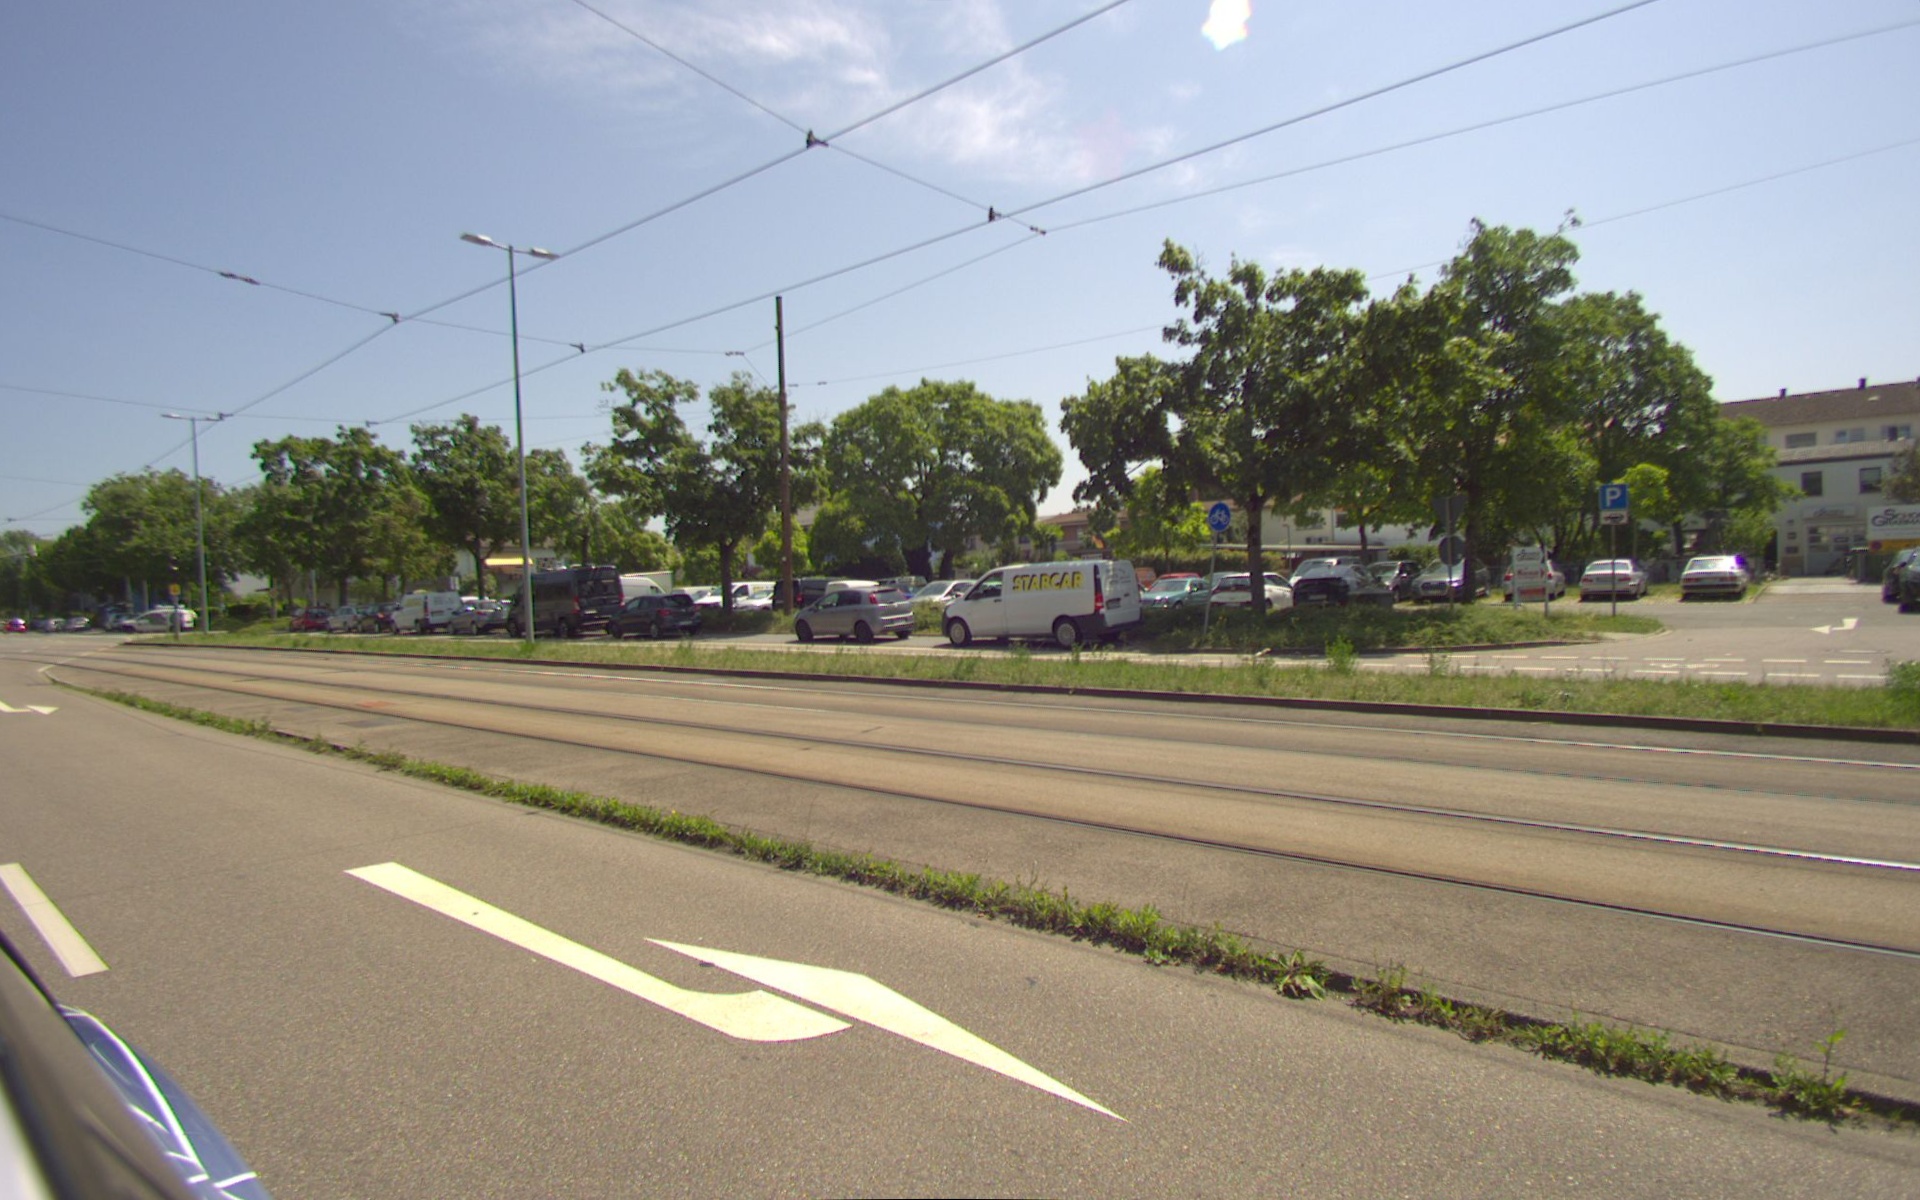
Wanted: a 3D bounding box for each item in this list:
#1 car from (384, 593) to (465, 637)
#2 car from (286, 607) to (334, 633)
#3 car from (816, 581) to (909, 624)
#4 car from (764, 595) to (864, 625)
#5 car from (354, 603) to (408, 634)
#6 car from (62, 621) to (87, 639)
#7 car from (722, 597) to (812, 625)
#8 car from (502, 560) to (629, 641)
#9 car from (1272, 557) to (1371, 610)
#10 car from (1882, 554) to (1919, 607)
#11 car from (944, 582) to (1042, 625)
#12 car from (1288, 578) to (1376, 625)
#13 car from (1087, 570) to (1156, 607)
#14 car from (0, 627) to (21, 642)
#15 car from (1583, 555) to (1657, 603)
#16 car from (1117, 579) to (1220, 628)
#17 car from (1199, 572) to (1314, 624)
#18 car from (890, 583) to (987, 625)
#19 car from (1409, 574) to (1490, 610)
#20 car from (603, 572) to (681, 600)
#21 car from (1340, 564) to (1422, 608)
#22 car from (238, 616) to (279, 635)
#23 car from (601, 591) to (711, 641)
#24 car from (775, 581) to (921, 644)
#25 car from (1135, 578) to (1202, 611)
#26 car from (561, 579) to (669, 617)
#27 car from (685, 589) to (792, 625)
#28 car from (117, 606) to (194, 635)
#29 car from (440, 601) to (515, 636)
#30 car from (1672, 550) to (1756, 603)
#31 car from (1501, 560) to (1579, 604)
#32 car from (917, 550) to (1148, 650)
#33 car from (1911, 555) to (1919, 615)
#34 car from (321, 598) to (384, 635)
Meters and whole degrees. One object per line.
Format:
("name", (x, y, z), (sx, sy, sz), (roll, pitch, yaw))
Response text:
("car", (-25.439, 0.676, 47.978), (4.817, 1.963, 1.899), (-1, 0, 43))
("car", (-37.965, 1.147, 59.104), (3.424, 1.491, 1.561), (-1, 0, 43))
("car", (-4.177, 0.073, 44.020), (1.795, 1.730, 3.950), (-2, 1, 37))
("car", (-6.467, 0.427, 45.180), (2.030, 1.152, 4.210), (-1, 1, 37))
("car", (-29.570, 0.923, 51.656), (3.261, 1.489, 1.410), (-1, 0, 41))
("car", (-96.114, 3.265, 109.791), (3.983, 1.867, 1.681), (-1, 0, 43))
("car", (-8.860, 0.495, 46.796), (1.732, 1.152, 3.950), (-1, 1, 37))
("car", (-15.144, 0.027, 38.650), (5.666, 2.859, 2.214), (-1, 0, 42))
("car", (15.269, -0.654, 42.541), (2.225, 2.085, 5.055), (-1, 0, 41))
("car", (27.253, -0.541, 28.400), (2.000, 1.432, 4.086), (-1, 0, 43))
("car", (1.315, 0.108, 38.265), (1.828, 1.501, 4.029), (-2, 1, 34))
("car", (10.893, 0.025, 29.542), (1.639, 1.241, 3.385), (-2, 1, 34))
("car", (7.939, -0.569, 49.377), (1.689, 1.665, 4.081), (-2, 0, 35))
("car", (-101.213, 3.634, 107.567), (3.424, 1.491, 1.796), (-1, 0, 43))
("car", (23.246, -0.731, 35.596), (1.520, 1.591, 3.943), (-1, 0, 43))
("car", (6.845, 0.095, 32.884), (1.908, 1.501, 3.994), (-1, 0, 34))
("car", (9.332, -0.086, 31.677), (1.983, 1.501, 4.119), (-1, 1, 40))
("car", (-0.790, 0.138, 39.636), (1.862, 1.499, 3.954), (-2, 1, 34))
("car", (18.755, -0.299, 38.721), (1.764, 1.294, 3.675), (-1, 0, 43))
("car", (-25.125, -1.089, 80.044), (2.145, 2.078, 5.673), (-1, 0, 38))
("car", (17.041, -0.544, 40.883), (1.804, 1.669, 3.943), (-1, 0, 43))
("car", (-46.729, 1.667, 67.381), (3.424, 1.167, 1.561), (0, 0, 43))
("car", (-10.418, 0.517, 34.638), (3.751, 1.589, 1.950), (-1, 0, 42))
("car", (-3.161, 0.346, 28.124), (4.125, 1.513, 1.633), (-1, 4, 42))
("car", (9.980, -0.277, 48.249), (1.712, 1.505, 3.952), (-1, 0, 35))
("car", (-19.029, -0.130, 56.024), (2.029, 1.970, 5.362), (-1, 0, 43))
("car", (-10.680, 0.314, 49.138), (1.998, 1.588, 4.866), (-1, 1, 38))
("car", (-59.966, 1.514, 75.477), (4.141, 2.005, 1.828), (-1, 0, -22))
("car", (-21.096, 0.788, 44.241), (3.608, 1.475, 1.744), (-1, 0, 43))
("car", (25.051, -0.751, 33.575), (1.804, 1.669, 3.943), (-1, 0, 43))
("car", (21.649, -0.655, 37.724), (1.661, 1.531, 3.943), (-1, 0, 43))
("car", (1.589, 0.001, 23.862), (5.343, 2.025, 1.856), (-1, 4, 42))
("car", (23.241, -0.423, 23.455), (1.682, 1.306, 3.944), (-2, 0, 43))
("car", (-32.998, 0.896, 54.929), (4.495, 1.907, 1.614), (-1, 0, 41))
